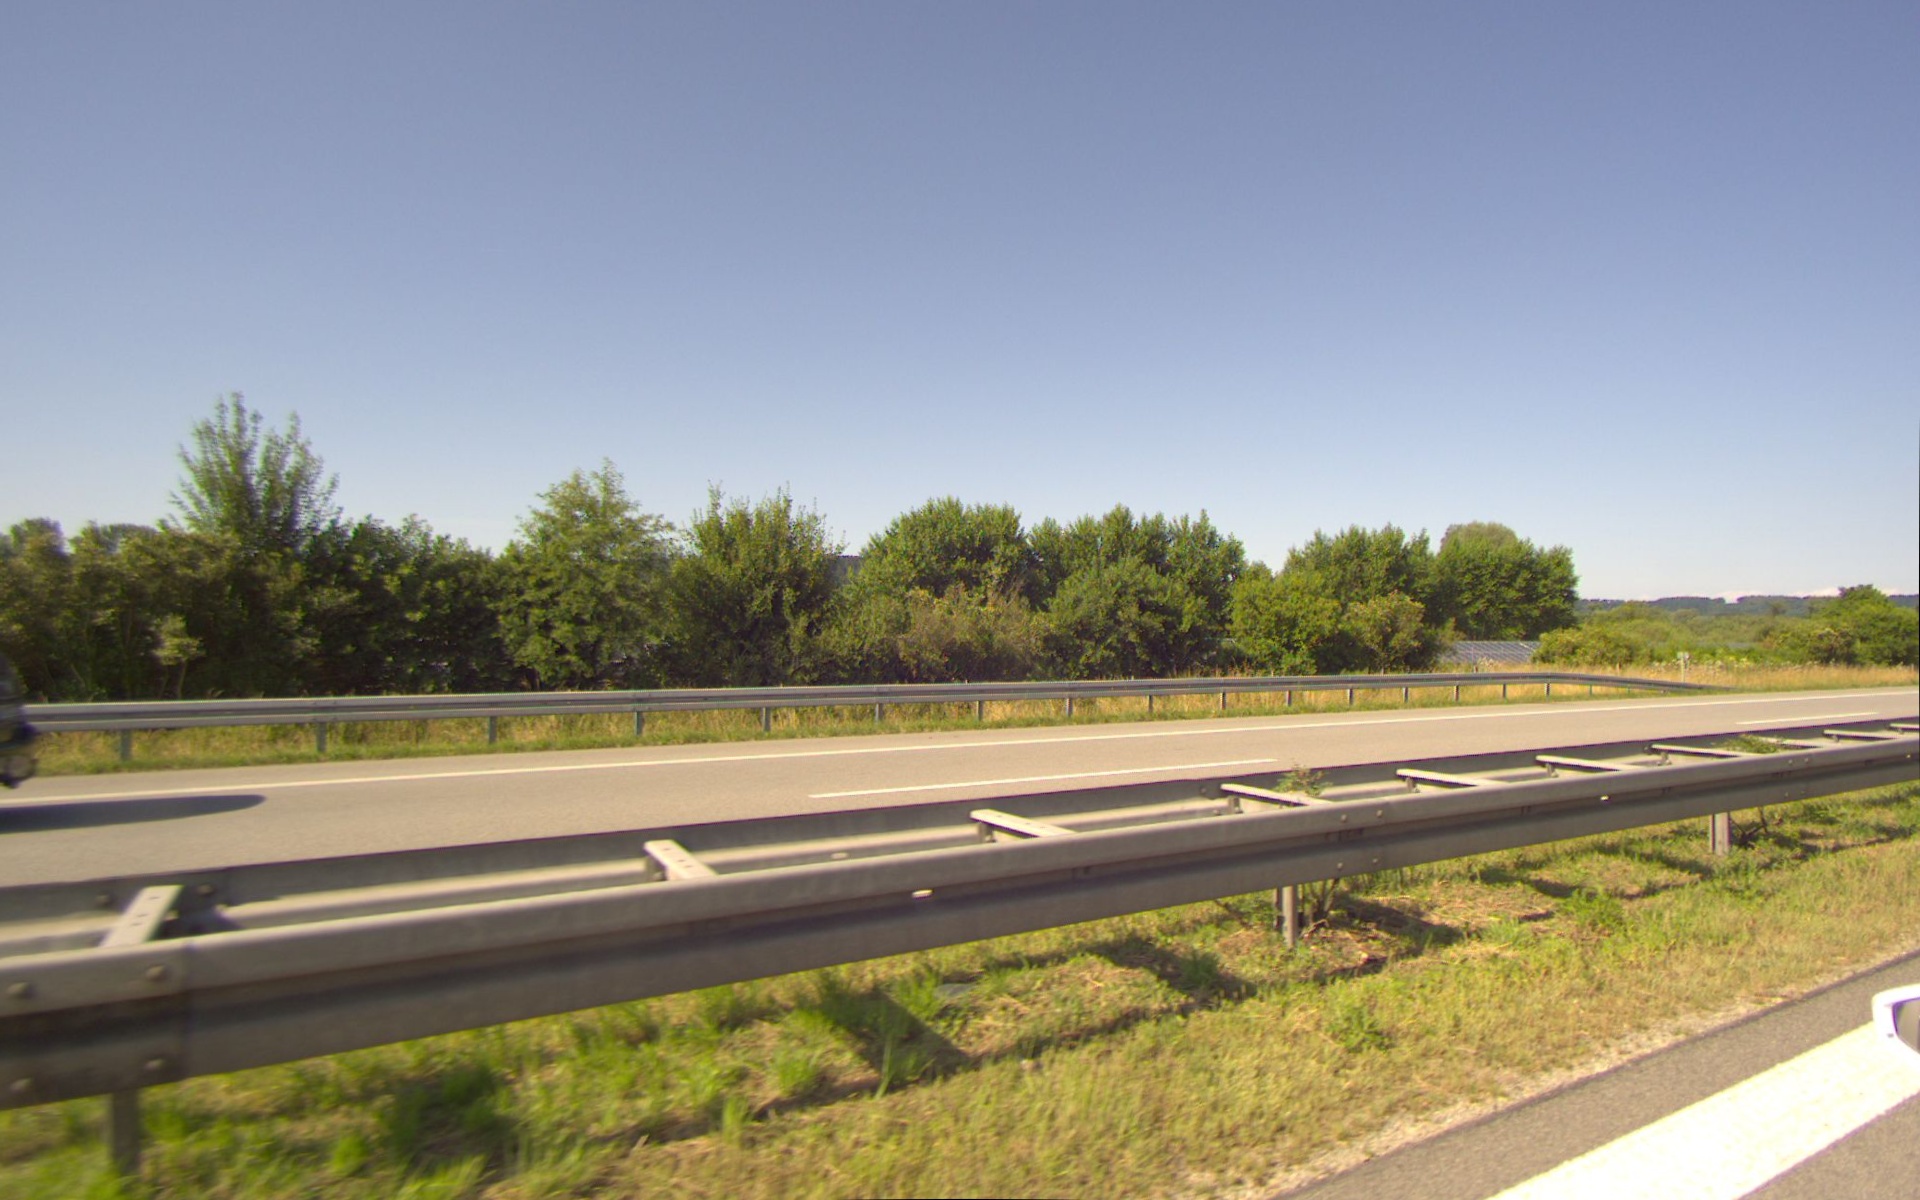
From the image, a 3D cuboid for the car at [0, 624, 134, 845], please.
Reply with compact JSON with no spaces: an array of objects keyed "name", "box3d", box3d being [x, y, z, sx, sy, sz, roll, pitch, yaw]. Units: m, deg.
[{"name":"car","box3d":[-9.015,0.962,7.099,4.601,1.592,1.822,2,-3,-30]}]
